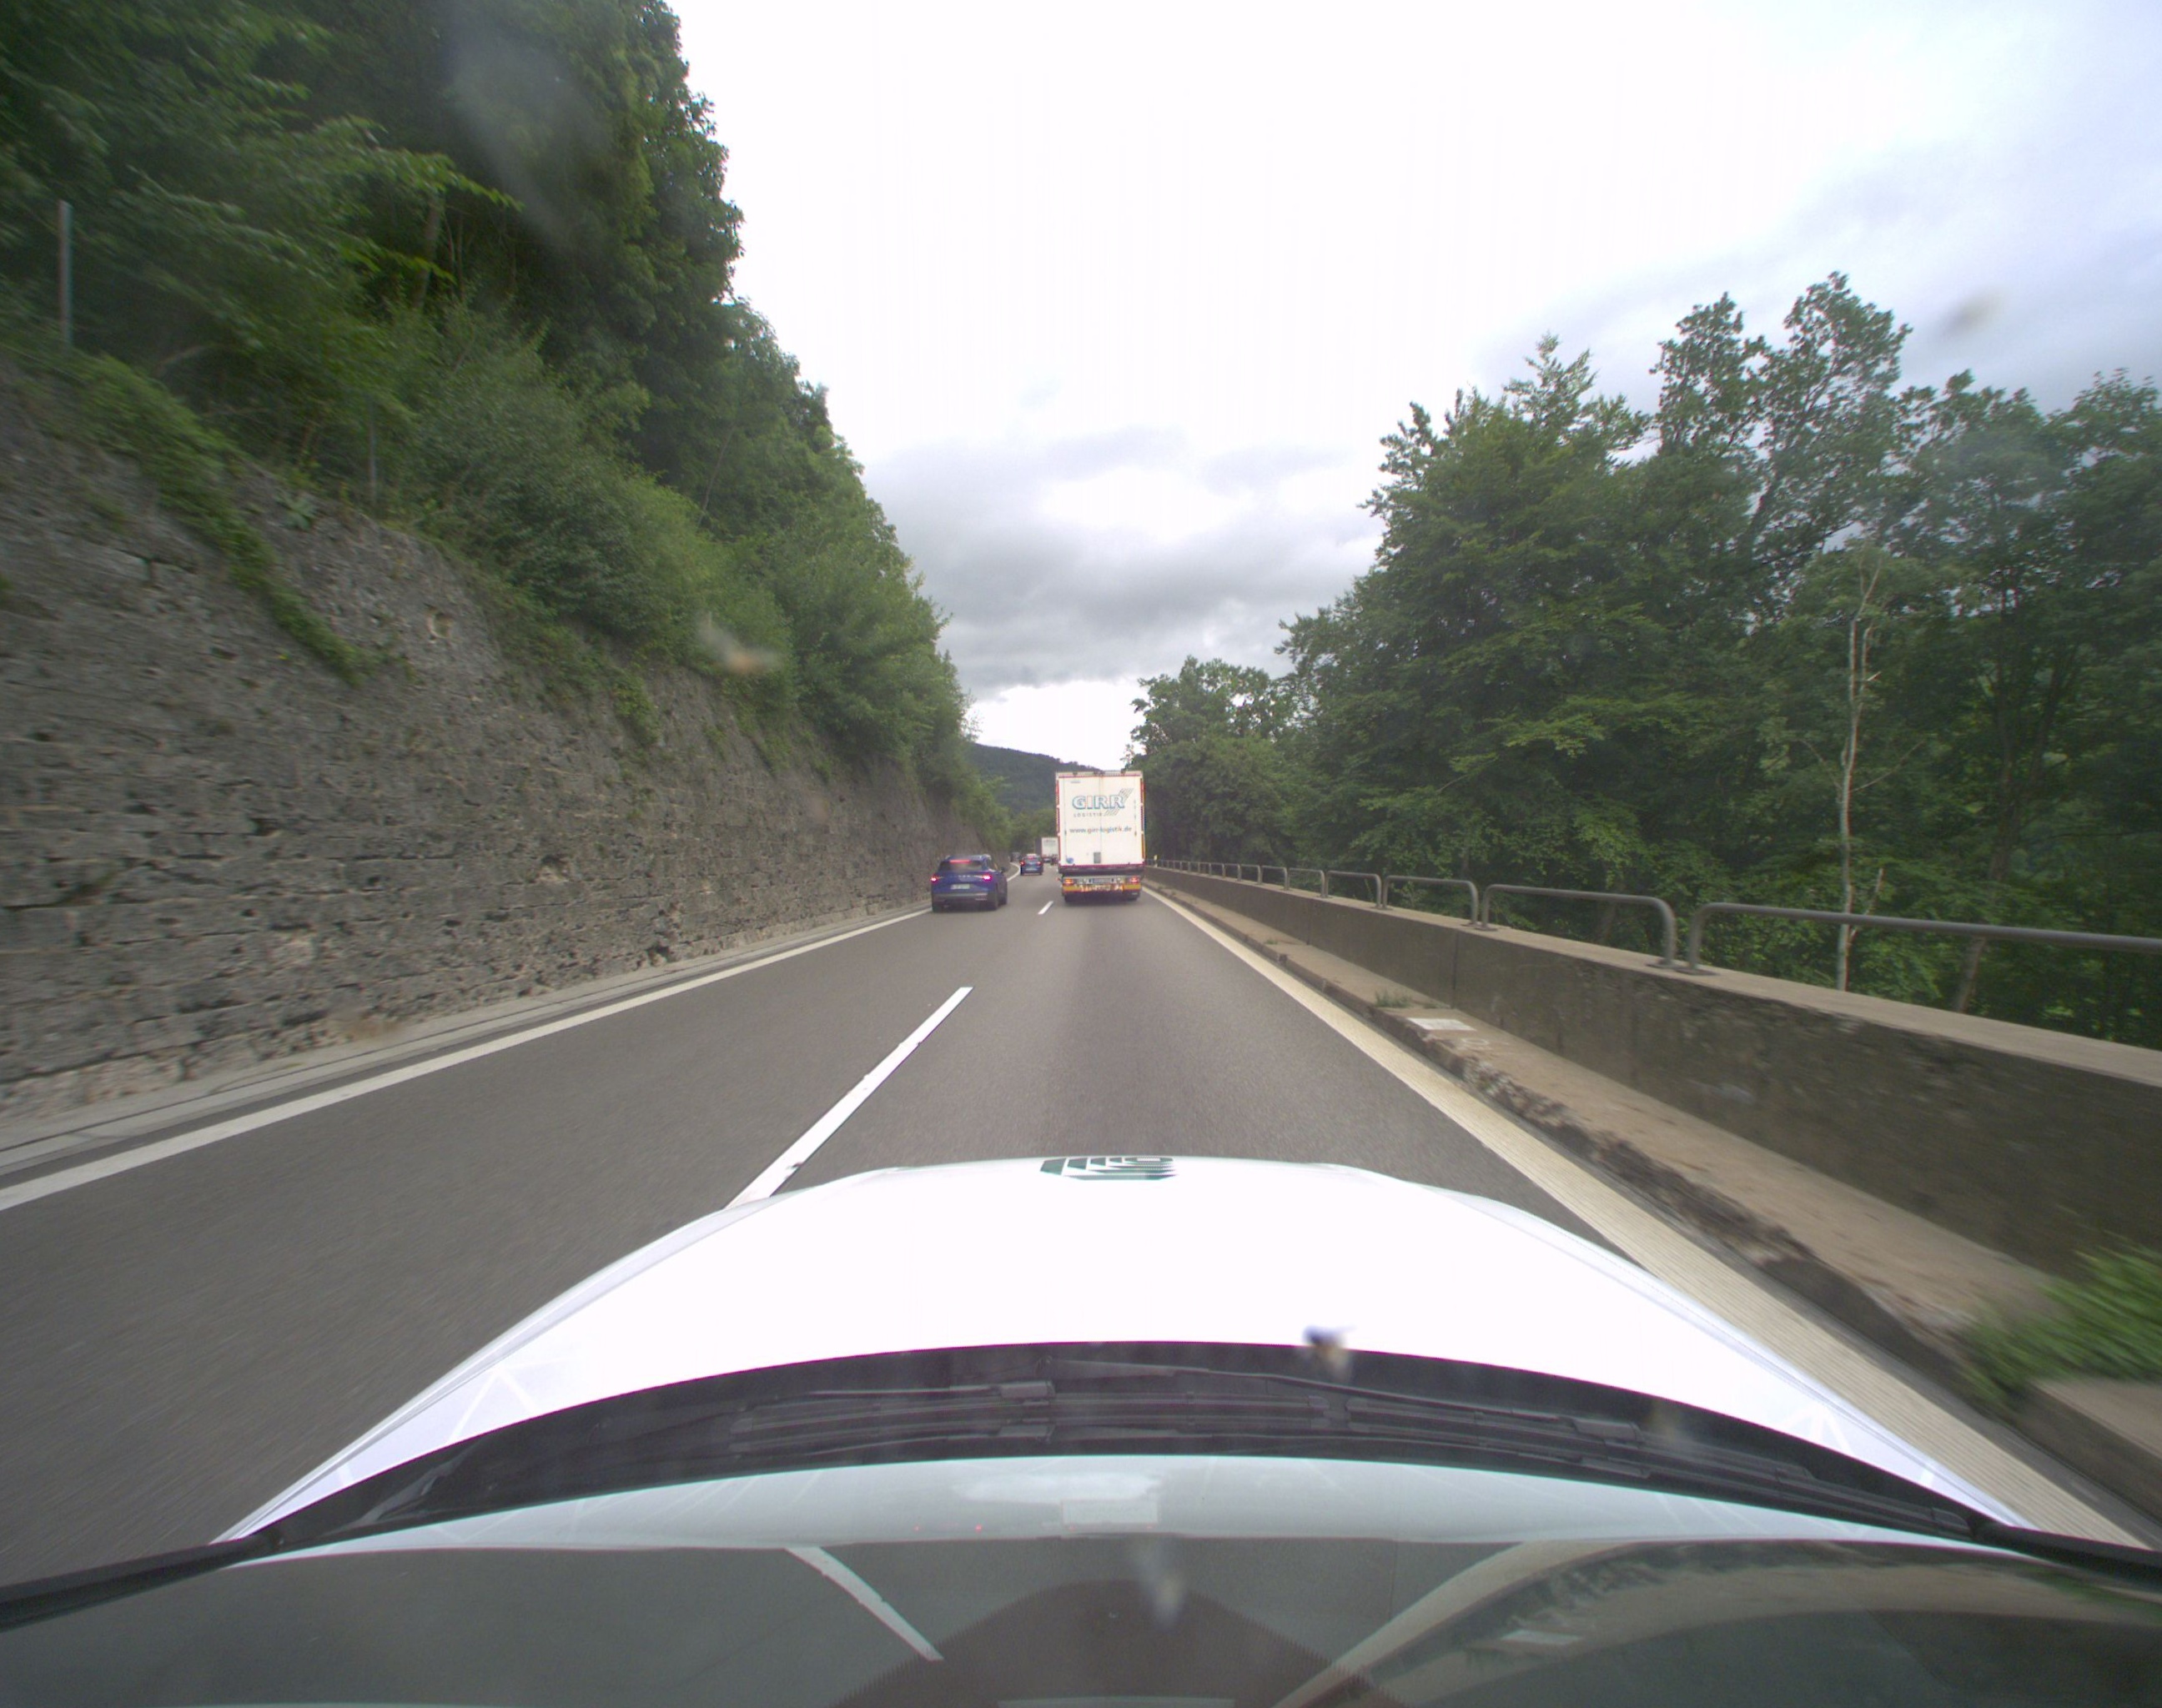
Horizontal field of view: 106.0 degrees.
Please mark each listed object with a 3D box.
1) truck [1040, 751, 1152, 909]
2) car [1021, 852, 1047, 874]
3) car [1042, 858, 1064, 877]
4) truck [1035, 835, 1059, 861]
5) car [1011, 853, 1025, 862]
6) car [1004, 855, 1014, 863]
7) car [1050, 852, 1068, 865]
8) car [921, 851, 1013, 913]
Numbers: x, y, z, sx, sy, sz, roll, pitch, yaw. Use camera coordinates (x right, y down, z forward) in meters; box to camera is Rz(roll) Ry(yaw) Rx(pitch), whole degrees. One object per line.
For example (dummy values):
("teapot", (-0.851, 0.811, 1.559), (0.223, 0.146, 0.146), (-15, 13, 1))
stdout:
("truck", (0.588, -0.744, 31.074), (3.073, 4.464, 15.159), (-2, 0, 1))
("car", (-3.693, 0.673, 63.341), (1.990, 1.596, 4.346), (0, 0, -5))
("car", (-2.562, 1.191, 73.341), (1.742, 1.587, 3.993), (-3, -1, -5))
("truck", (-5.491, -0.856, 129.392), (2.632, 3.857, 12.328), (-2, 0, -7))
("car", (-10.744, 0.623, 138.611), (1.898, 1.550, 4.233), (-1, 0, -11))
("car", (-14.961, 0.984, 169.324), (1.744, 1.587, 3.989), (5, -1, -8))
("car", (-2.888, 0.544, 106.993), (2.057, 1.654, 3.993), (-2, 0, -5))
("car", (-3.314, 0.775, 24.648), (1.987, 1.632, 5.008), (-1, 0, 0))
